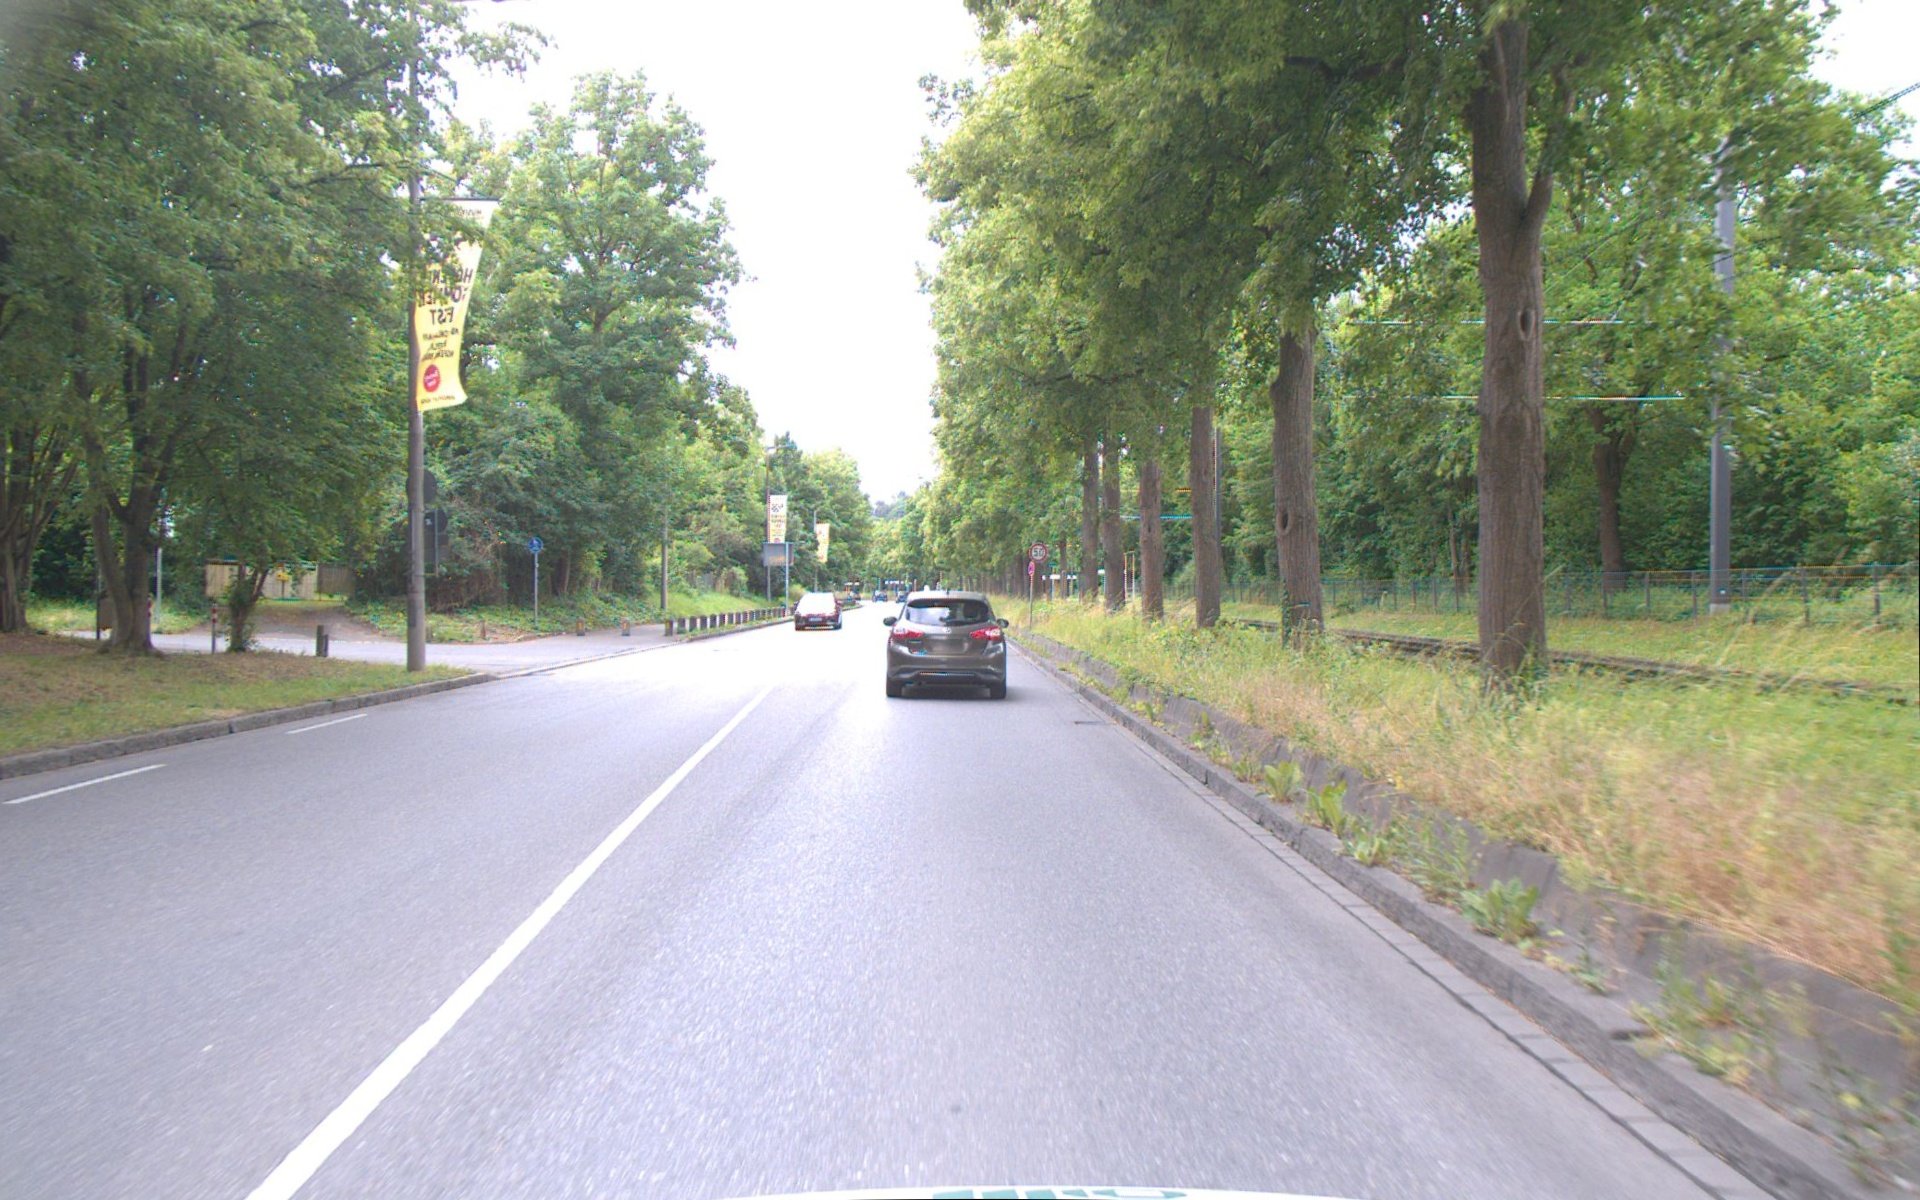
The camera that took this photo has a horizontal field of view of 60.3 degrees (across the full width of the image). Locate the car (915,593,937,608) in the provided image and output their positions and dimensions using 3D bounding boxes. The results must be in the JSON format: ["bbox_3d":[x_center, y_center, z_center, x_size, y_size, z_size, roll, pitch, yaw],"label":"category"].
[{"bbox_3d":[-3.575,0.026,174.835,1.536,1.466,3.537,1,0,-15],"label":"car"}]

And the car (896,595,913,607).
[{"bbox_3d":[-7.105,0.176,211.114,1.533,1.466,3.542,1,0,-11],"label":"car"}]

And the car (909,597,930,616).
[{"bbox_3d":[-3.314,0.482,133.826,1.530,1.466,3.549,1,0,-4],"label":"car"}]

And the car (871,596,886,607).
[{"bbox_3d":[-11.886,0.192,241.548,1.535,1.466,3.539,1,0,-13],"label":"car"}]

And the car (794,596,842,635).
[{"bbox_3d":[-5.620,0.603,65.822,1.682,1.453,4.194,-1,0,-3],"label":"car"}]

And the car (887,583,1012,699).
[{"bbox_3d":[-0.193,0.566,24.744,1.695,1.564,3.550,1,0,-2],"label":"car"}]
